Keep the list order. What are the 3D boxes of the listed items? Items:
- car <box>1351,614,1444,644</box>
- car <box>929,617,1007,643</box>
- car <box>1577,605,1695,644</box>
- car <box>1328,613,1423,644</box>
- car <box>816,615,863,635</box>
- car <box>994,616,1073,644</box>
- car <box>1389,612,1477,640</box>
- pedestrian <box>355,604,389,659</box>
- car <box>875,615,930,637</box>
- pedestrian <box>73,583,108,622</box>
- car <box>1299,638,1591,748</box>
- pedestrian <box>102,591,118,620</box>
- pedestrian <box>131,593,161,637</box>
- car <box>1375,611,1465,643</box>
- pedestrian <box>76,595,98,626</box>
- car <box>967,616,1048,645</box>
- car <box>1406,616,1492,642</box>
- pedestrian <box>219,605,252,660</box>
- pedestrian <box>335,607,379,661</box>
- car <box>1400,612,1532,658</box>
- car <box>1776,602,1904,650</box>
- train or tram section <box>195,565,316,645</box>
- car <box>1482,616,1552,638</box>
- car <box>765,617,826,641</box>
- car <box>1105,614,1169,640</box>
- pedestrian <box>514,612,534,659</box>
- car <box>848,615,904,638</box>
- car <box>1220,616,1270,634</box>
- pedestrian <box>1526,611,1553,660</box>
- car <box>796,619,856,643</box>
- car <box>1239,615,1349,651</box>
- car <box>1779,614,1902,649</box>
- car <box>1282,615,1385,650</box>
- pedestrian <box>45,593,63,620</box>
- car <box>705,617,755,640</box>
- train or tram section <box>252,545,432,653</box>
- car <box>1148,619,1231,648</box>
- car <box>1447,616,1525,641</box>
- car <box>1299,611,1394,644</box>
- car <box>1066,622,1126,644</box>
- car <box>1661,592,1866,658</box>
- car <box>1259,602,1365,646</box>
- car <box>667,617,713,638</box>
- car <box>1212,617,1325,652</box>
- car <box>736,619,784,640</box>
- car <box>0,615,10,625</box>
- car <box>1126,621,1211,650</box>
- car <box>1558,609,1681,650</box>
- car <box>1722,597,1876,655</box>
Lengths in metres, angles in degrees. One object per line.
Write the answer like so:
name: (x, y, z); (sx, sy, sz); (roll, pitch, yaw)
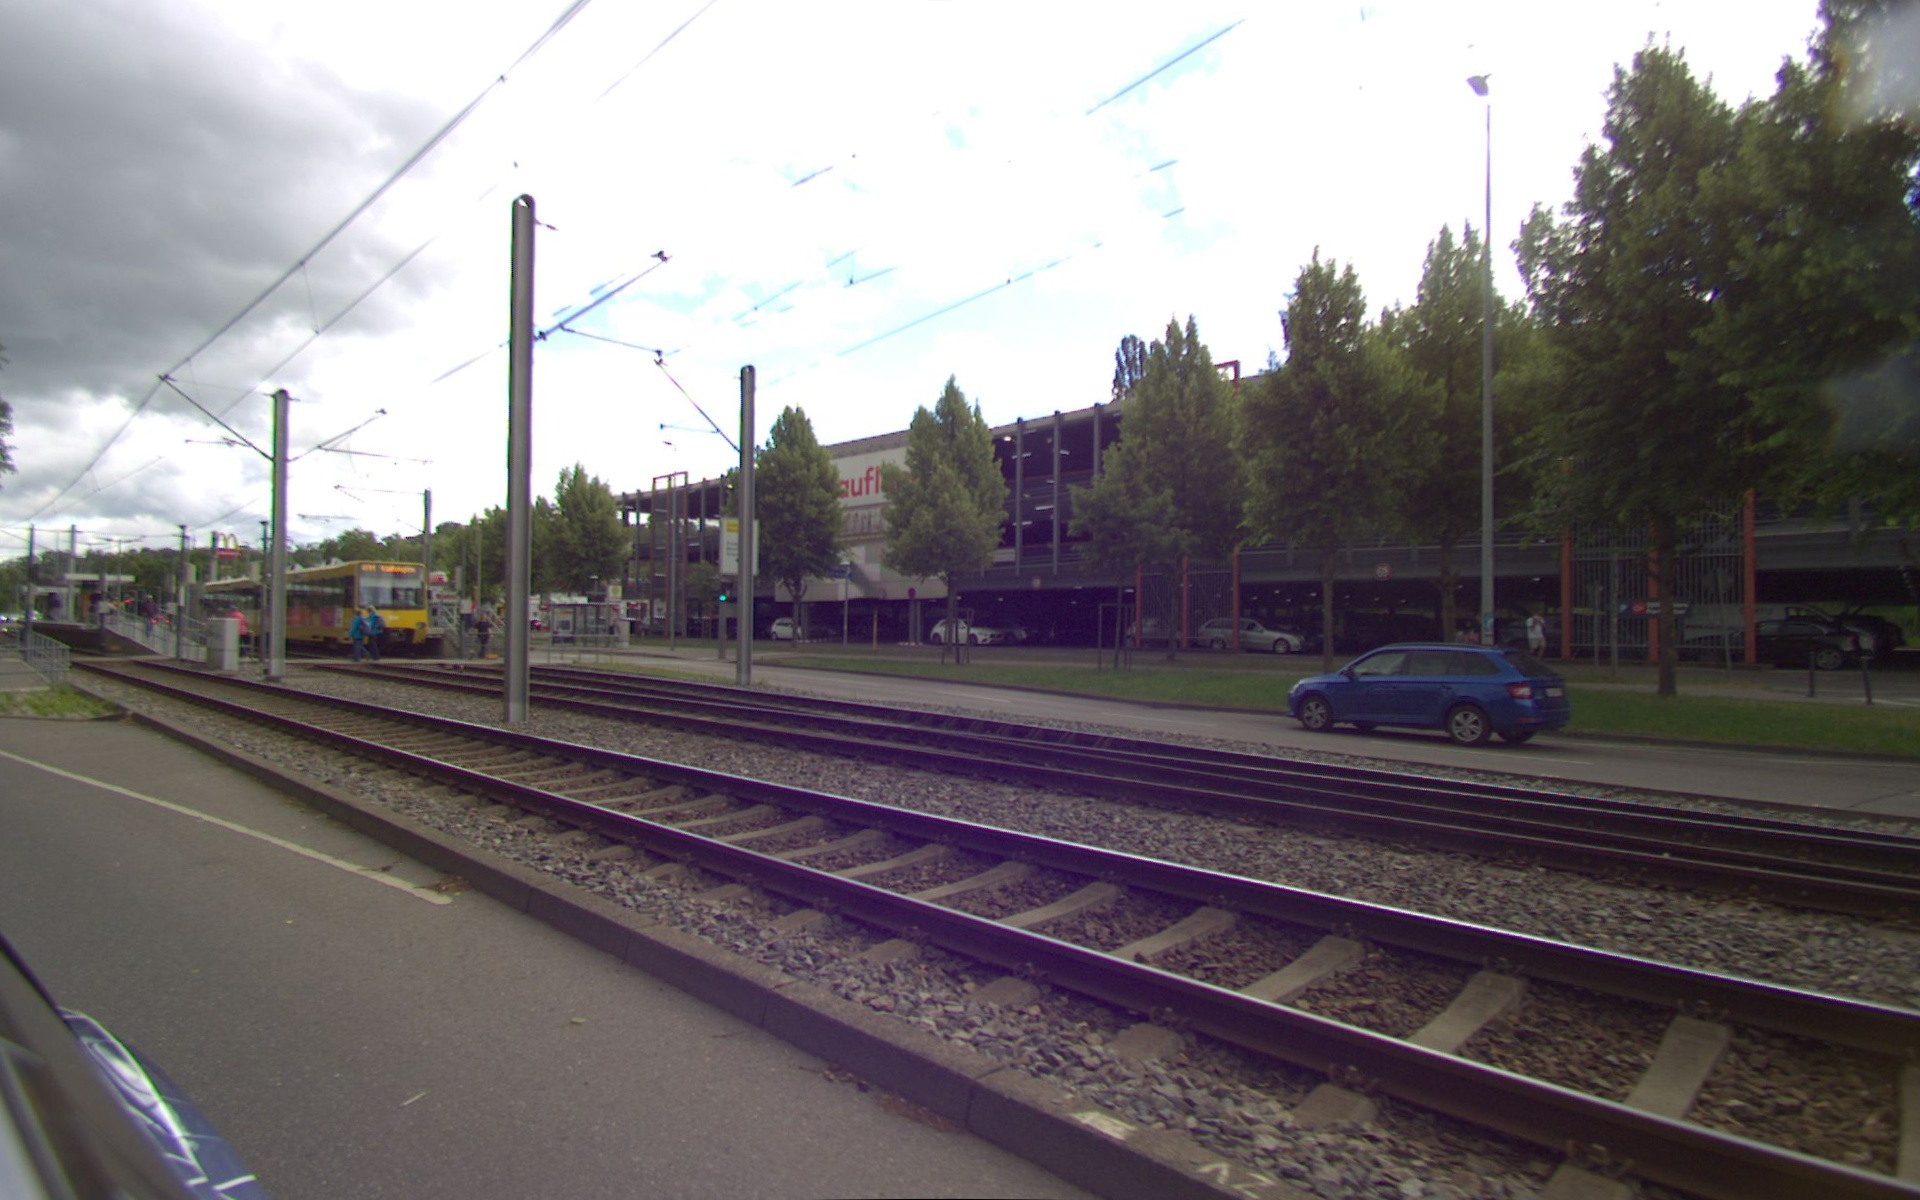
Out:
car: (22.473, 1.472, 52.079); (4.002, 1.453, 1.794); (-1, -3, 45)
car: (0.406, 1.552, 52.829); (4.073, 1.334, 1.617); (-1, -2, 44)
car: (26.949, 1.011, 40.410); (3.676, 1.429, 1.654); (-3, -5, 44)
car: (20.636, 1.403, 50.304); (4.002, 1.453, 1.794); (-1, -3, 45)
car: (-9.587, 1.966, 80.413); (3.797, 1.526, 1.704); (-1, -2, 45)
car: (4.060, 1.669, 56.536); (4.199, 1.443, 1.820); (-1, -3, 44)
car: (25.853, 1.405, 55.393); (4.002, 1.453, 1.794); (-1, -3, 45)
pedestrian: (-18.703, 1.017, 32.180); (0.716, 1.711, 0.659); (2, -3, -15)
car: (-4.074, 1.844, 71.393); (3.871, 1.526, 1.735); (-1, -2, 45)
pedestrian: (-39.761, 0.118, 46.295); (0.734, 1.691, 0.876); (2, -3, -2)
car: (7.337, 1.325, 15.576); (1.639, 1.403, 3.724); (1, -2, -41)
pedestrian: (-42.384, 0.276, 50.463); (0.411, 1.416, 0.473); (-1, -3, 43)
pedestrian: (-32.120, 0.609, 39.925); (0.791, 1.691, 0.762); (-1, -4, 44)
car: (24.424, 1.421, 53.781); (4.002, 1.587, 1.794); (-1, -3, 45)
pedestrian: (-44.122, 0.531, 51.146); (0.513, 1.494, 0.582); (2, -3, -8)
car: (2.545, 1.653, 54.749); (4.199, 1.443, 1.820); (-1, -3, 44)
car: (27.731, 1.632, 57.434); (4.002, 1.453, 1.794); (-1, -2, 45)
pedestrian: (-22.518, 1.009, 31.473); (0.604, 1.666, 0.798); (3, -3, -24)
pedestrian: (-18.582, 1.056, 31.210); (0.926, 1.623, 0.716); (2, -3, -13)
car: (17.121, 1.157, 34.315); (3.676, 1.487, 1.654); (-1, -2, 44)
car: (37.239, 1.063, 42.891); (4.000, 1.876, 1.769); (1, 0, 43)
train or tram section: (-40.264, 0.402, 57.360); (2.724, 3.912, 18.645); (1, -2, -44)
car: (36.341, 1.747, 66.076); (3.676, 1.449, 1.654); (-1, -2, 44)
car: (-10.377, 1.815, 63.765); (1.757, 1.409, 4.003); (4, -3, -44)
car: (11.098, 1.695, 63.486); (1.691, 1.513, 3.657); (4, -3, -43)
pedestrian: (-16.045, 1.303, 37.237); (0.509, 1.675, 0.467); (3, -3, -35)
car: (-5.807, 1.803, 69.549); (3.871, 1.526, 1.735); (-1, -2, 45)
car: (20.827, 1.852, 74.038); (1.422, 1.233, 3.219); (4, -3, -45)
pedestrian: (18.166, 1.098, 31.724); (0.416, 1.518, 0.614); (1, -2, -45)
car: (-8.713, 1.999, 65.470); (1.757, 1.414, 4.003); (4, -3, -44)
car: (14.170, 1.380, 43.026); (4.055, 1.443, 1.820); (-1, -3, 44)
car: (38.661, 1.345, 44.509); (4.000, 1.400, 1.769); (1, 0, 43)
car: (17.147, 1.483, 46.542); (4.055, 1.528, 1.820); (-1, -3, 44)
pedestrian: (-60.035, 0.410, 67.091); (0.937, 1.757, 0.740); (-1, -4, 44)
car: (-16.733, 2.064, 73.602); (3.797, 1.526, 1.704); (-1, -3, 45)
train or tram section: (-27.300, 0.120, 43.841); (2.724, 3.858, 18.646); (1, -2, -44)
car: (10.462, 1.540, 46.306); (1.422, 1.233, 3.476); (4, -3, -45)
car: (32.673, 1.757, 62.938); (4.002, 1.453, 1.794); (-1, -3, 45)
car: (18.658, 1.293, 48.929); (3.891, 1.528, 1.820); (-1, -2, 44)
car: (7.902, 1.917, 58.950); (1.422, 1.233, 3.219); (4, -3, -45)
car: (25.026, 0.767, 31.657); (4.870, 1.902, 1.654); (-1, -2, 44)
car: (15.628, 1.080, 45.064); (4.055, 1.828, 1.820); (-1, -3, 44)
car: (-20.647, 2.106, 77.349); (3.797, 1.526, 1.704); (-1, -3, 45)
car: (12.427, 1.366, 40.919); (4.073, 1.315, 1.617); (-1, -2, 44)
car: (-14.930, 2.198, 75.444); (3.797, 1.526, 1.704); (-1, -3, 45)
car: (-148.152, 3.051, 155.955); (1.967, 1.547, 4.009); (4, -3, -36)
car: (9.100, 1.527, 44.346); (1.421, 1.233, 3.477); (1, -2, -44)
car: (25.168, 1.097, 38.700); (3.676, 1.487, 1.654); (-1, -2, 44)
car: (28.903, 0.895, 34.939); (4.000, 1.901, 1.769); (-1, -2, 43)
